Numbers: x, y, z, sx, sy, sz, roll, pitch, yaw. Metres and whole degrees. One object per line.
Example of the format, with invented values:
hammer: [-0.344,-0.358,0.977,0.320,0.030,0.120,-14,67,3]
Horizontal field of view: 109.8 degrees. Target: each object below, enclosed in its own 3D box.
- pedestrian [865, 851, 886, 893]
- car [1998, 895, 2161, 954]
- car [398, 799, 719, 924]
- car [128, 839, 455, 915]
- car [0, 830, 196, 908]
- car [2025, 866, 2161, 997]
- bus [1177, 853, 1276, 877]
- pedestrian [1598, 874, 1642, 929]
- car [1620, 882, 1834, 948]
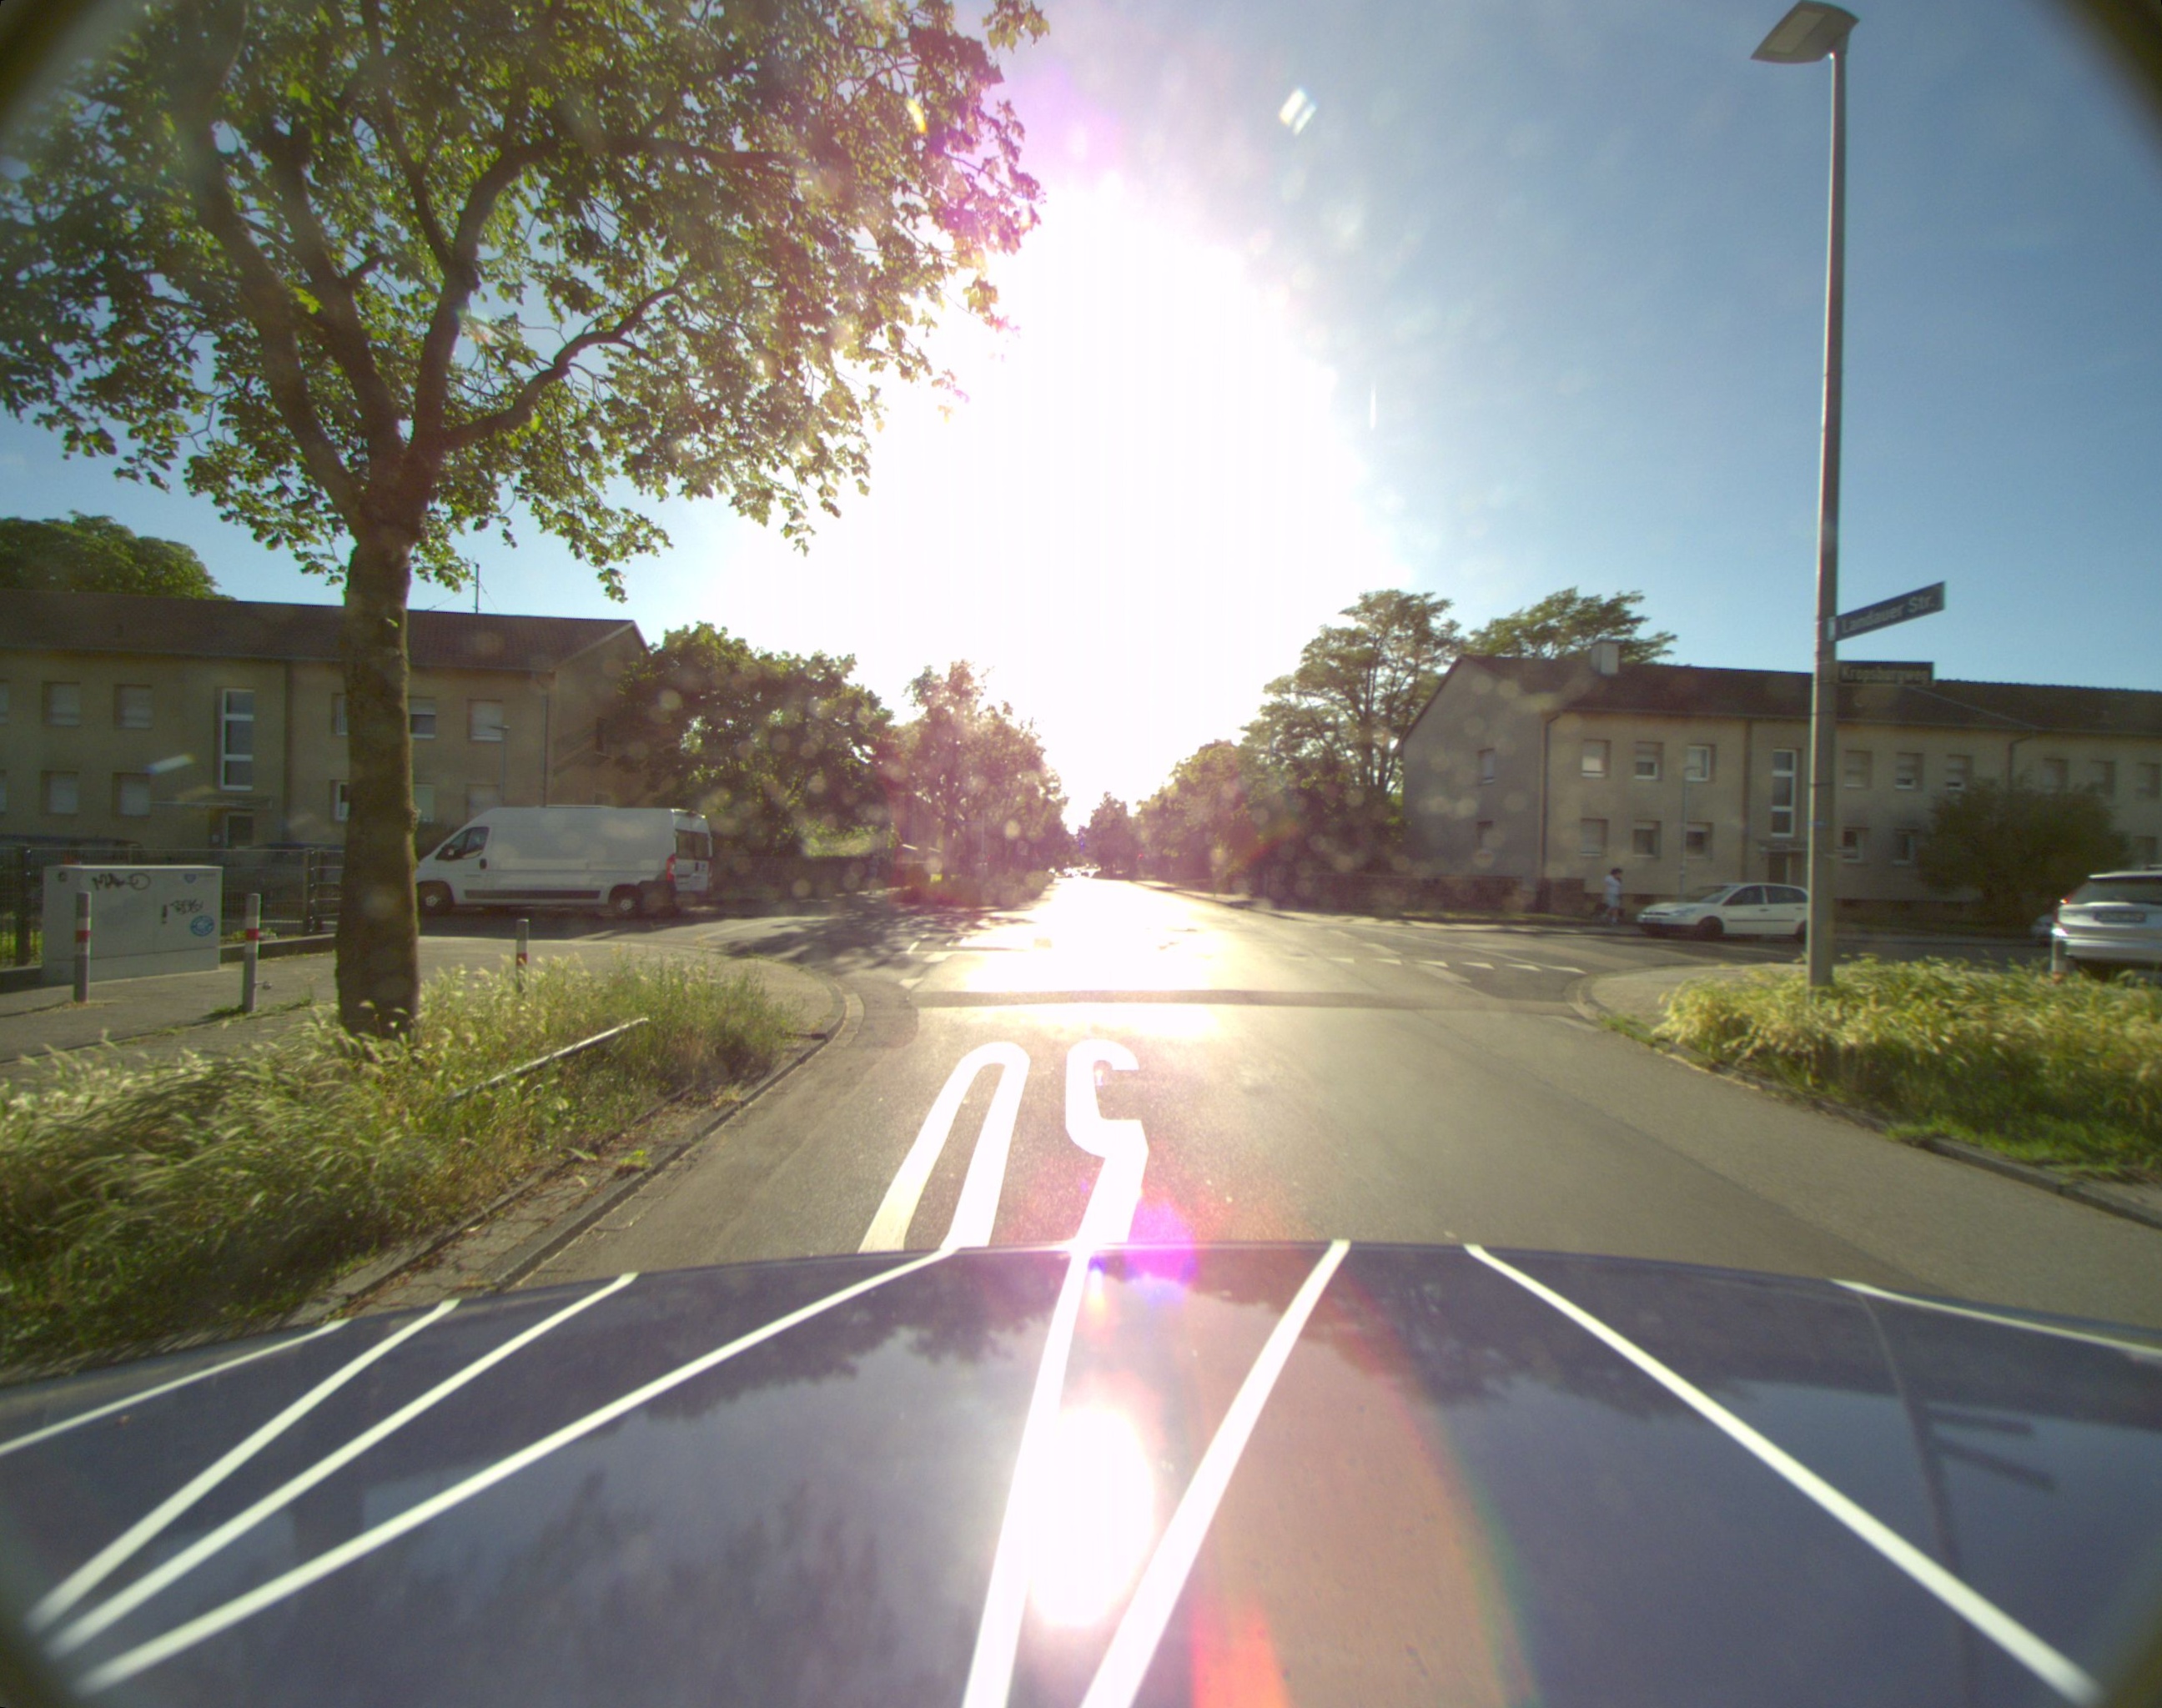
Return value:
pedestrian: [-8.529,0.745,31.547,0.638,1.695,0.612,4,-1,-2]
car: [26.927,1.827,19.903,3.778,1.388,1.870,2,-2,-4]
car: [-11.637,0.186,17.335,5.611,2.524,2.265,1,0,-4]
car: [-17.430,0.498,17.044,4.754,1.572,2.285,0,-1,-4]
car: [-23.483,0.285,16.836,4.754,1.573,2.283,0,3,-4]
car: [17.254,1.156,11.147,4.502,1.826,2.000,1,-3,-4]
bus: [18.848,1.492,99.410,12.463,3.079,3.133,0,-1,6]
pedestrian: [15.537,1.352,21.921,0.786,1.544,0.639,0,-1,-4]
car: [15.920,1.480,18.855,3.777,1.470,1.871,2,-2,-3]
